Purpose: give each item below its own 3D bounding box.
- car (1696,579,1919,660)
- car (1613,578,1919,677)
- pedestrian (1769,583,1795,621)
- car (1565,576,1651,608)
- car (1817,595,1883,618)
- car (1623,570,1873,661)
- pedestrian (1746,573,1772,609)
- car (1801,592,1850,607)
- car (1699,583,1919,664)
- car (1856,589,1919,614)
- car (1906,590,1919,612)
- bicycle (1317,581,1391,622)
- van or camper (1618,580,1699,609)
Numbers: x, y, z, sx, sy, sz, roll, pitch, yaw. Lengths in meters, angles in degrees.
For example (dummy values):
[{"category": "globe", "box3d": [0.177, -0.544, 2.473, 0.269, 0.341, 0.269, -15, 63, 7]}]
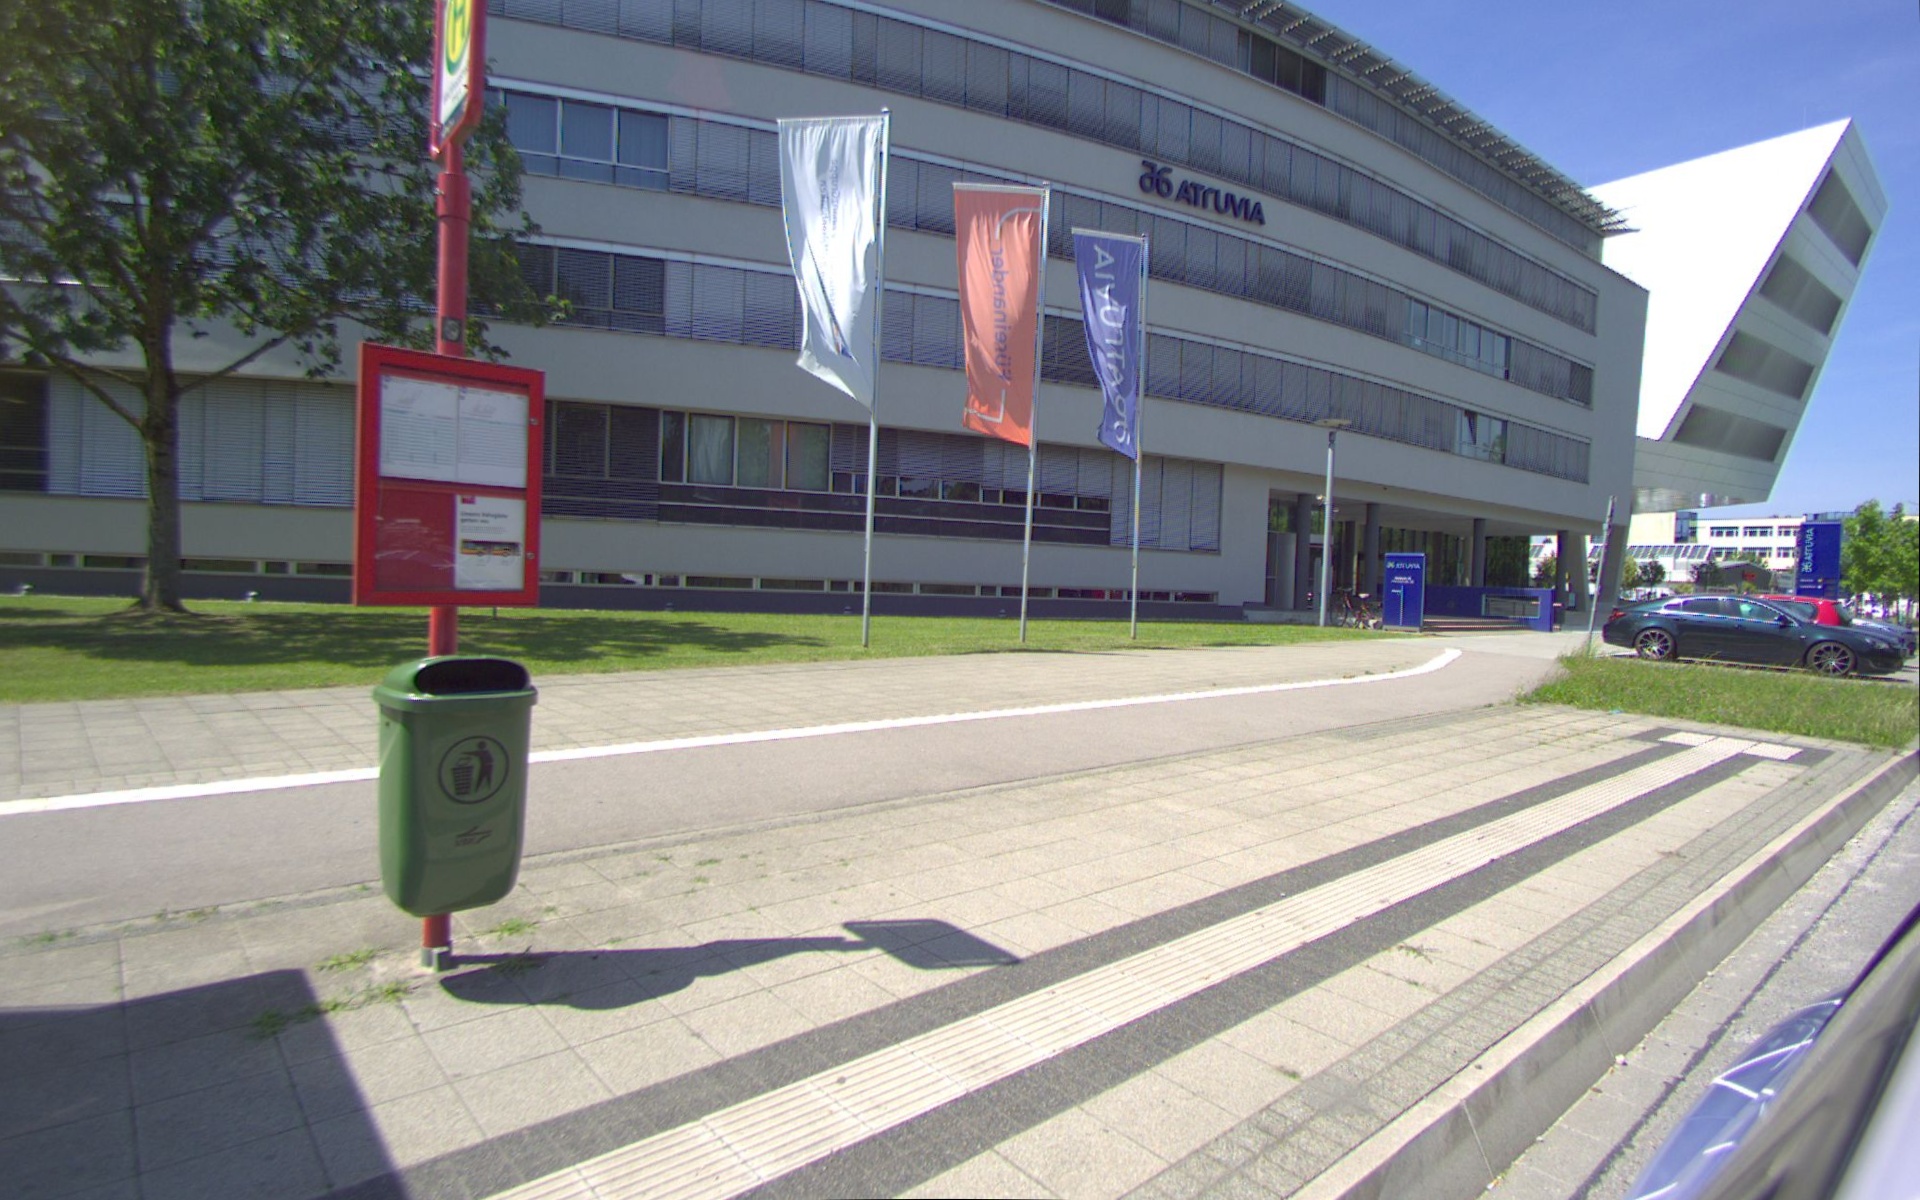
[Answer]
[{"category": "car", "box3d": [20.948, 0.413, 24.857, 1.755, 1.582, 4.330, 0, 4, -42]}, {"category": "car", "box3d": [15.782, 0.440, 19.906, 1.797, 1.449, 4.574, 0, 4, -44]}, {"category": "pedestrian", "box3d": [38.389, 0.077, 47.261, 0.763, 1.722, 0.843, 0, 1, -44]}, {"category": "car", "box3d": [53.027, -0.661, 82.883, 1.963, 2.490, 5.587, 0, 1, -36]}, {"category": "car", "box3d": [71.562, 0.499, 81.404, 1.710, 1.695, 3.821, 0, 1, -40]}, {"category": "car", "box3d": [17.177, 0.262, 22.210, 1.807, 1.675, 3.996, 0, 3, -40]}, {"category": "pedestrian", "box3d": [37.795, -0.424, 47.887, 0.763, 1.681, 0.843, 0, 1, -44]}, {"category": "car", "box3d": [107.656, -0.086, 125.922, 1.671, 1.678, 4.325, 0, 1, -36]}, {"category": "car", "box3d": [19.390, 0.463, 23.032, 1.626, 1.504, 3.816, 0, 3, -40]}, {"category": "car", "box3d": [85.227, 0.122, 91.156, 2.124, 2.176, 6.499, 0, 1, -36]}, {"category": "car", "box3d": [90.580, 0.156, 93.659, 1.671, 2.000, 4.209, 0, 1, -36]}, {"category": "bicycle", "box3d": [10.791, 0.023, 27.756, 0.524, 1.073, 1.882, 0, 1, -38]}, {"category": "van or camper", "box3d": [62.700, -0.536, 90.953, 1.671, 2.420, 5.705, 0, 1, -36]}]
